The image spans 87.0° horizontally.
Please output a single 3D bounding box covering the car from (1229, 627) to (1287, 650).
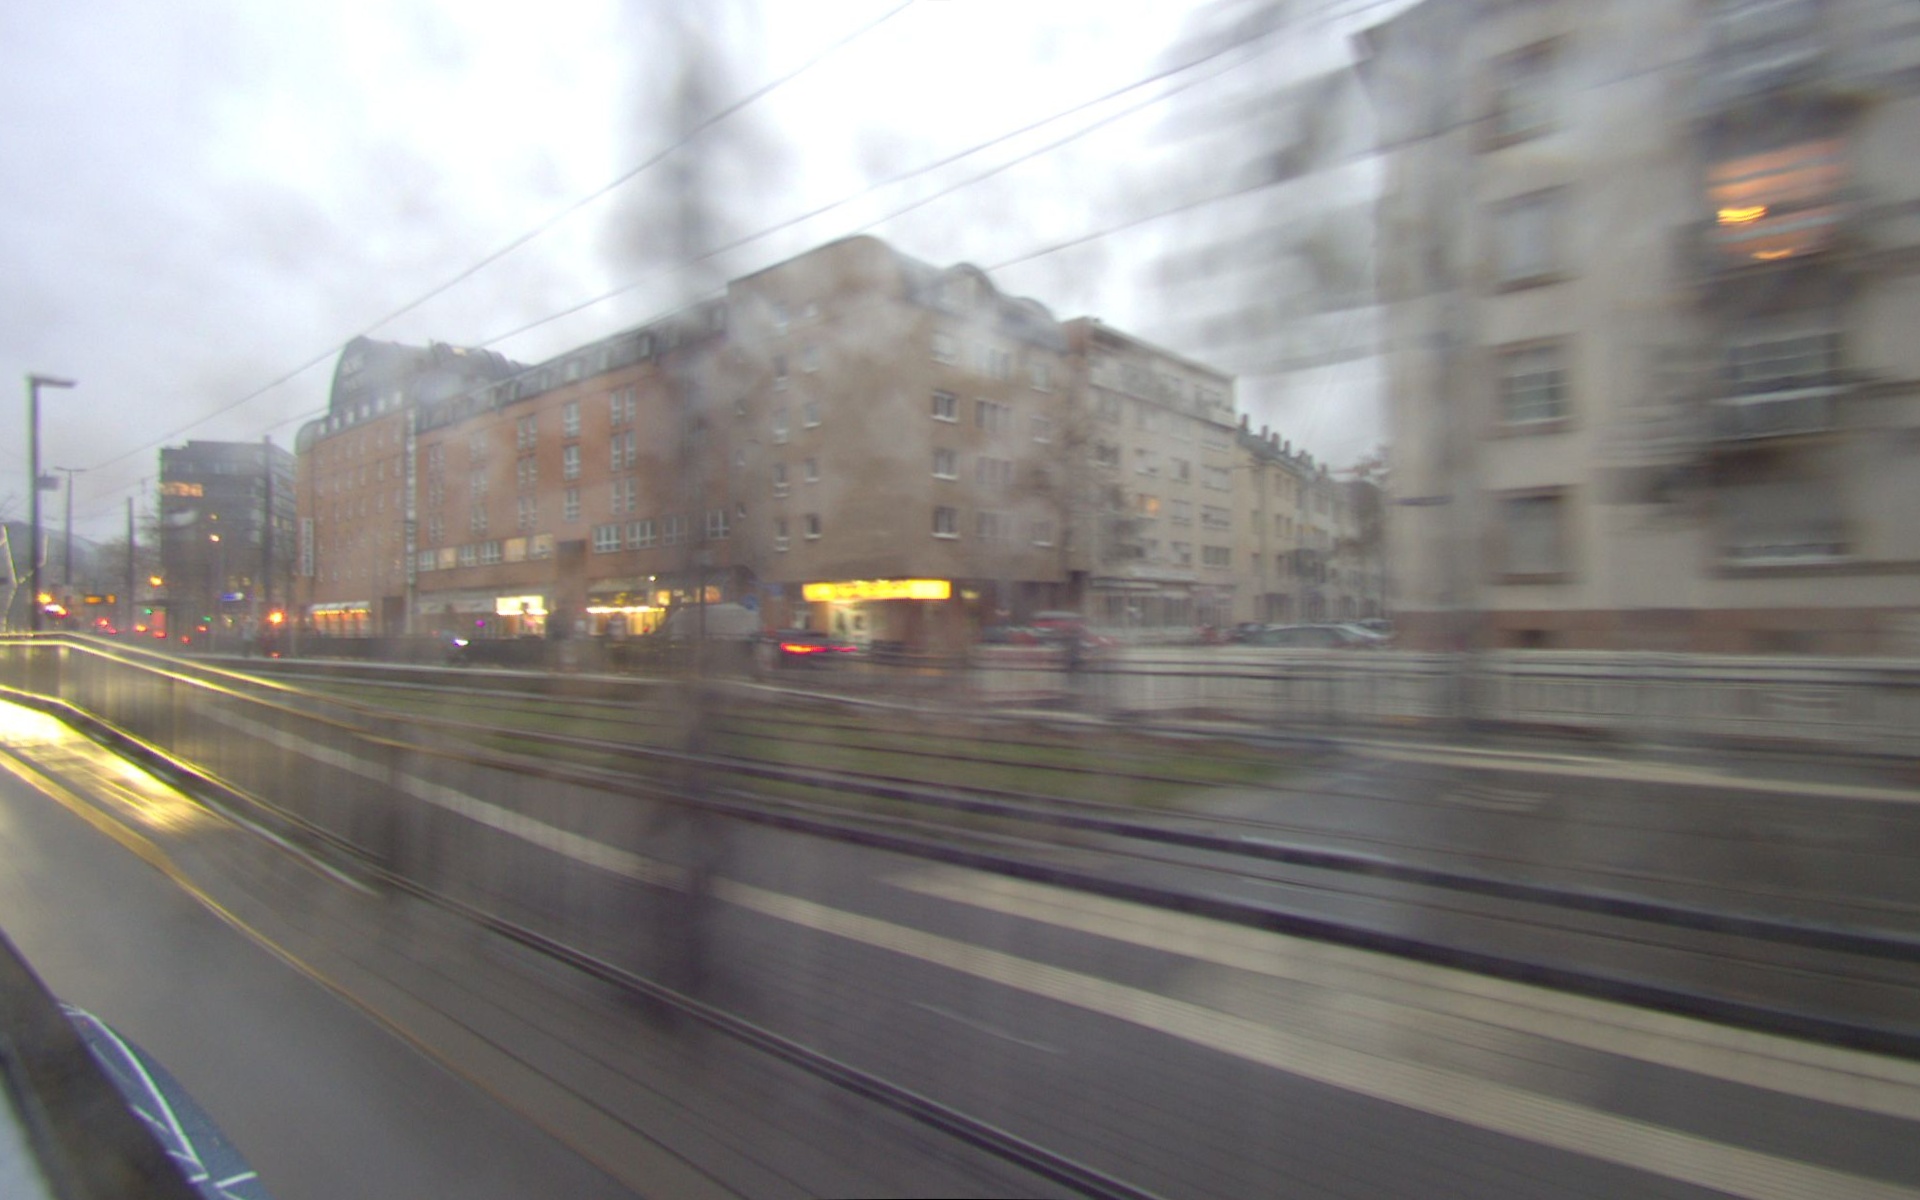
[{"bbox_3d":[19.302,2.496,65.500,3.310,1.436,1.441,-2,-2,36],"label":"car"}]

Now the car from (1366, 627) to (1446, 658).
[{"bbox_3d":[21.568,2.045,48.986,3.310,1.436,1.441,-2,-2,36],"label":"car"}]

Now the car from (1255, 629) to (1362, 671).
[{"bbox_3d":[12.424,1.762,36.135,3.310,1.436,1.441,-2,-2,36],"label":"car"}]

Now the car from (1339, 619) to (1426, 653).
[{"bbox_3d":[18.664,1.581,44.724,3.310,1.436,1.441,-2,-2,36],"label":"car"}]

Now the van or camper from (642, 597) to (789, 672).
[{"bbox_3d":[-9.852,1.312,40.311,2.740,2.702,6.761,-1,0,-42],"label":"van or camper"}]

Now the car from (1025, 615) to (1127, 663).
[{"bbox_3d":[5.087,1.718,44.611,4.127,2.050,1.730,-2,-2,30],"label":"car"}]

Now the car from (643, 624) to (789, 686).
[{"bbox_3d":[-5.972,1.290,24.583,3.543,1.364,1.665,-1,-1,40],"label":"car"}]

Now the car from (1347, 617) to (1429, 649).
[{"bbox_3d":[20.049,1.541,47.430,3.310,1.436,1.441,-2,-2,36],"label":"car"}]

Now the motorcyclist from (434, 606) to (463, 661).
[{"bbox_3d":[-14.429,0.936,28.561,0.555,1.507,0.494,-2,0,36],"label":"motorcyclist"}]

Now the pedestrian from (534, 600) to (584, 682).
[{"bbox_3d":[-9.084,0.910,22.947,0.811,1.793,0.798,-2,0,-1],"label":"pedestrian"}]

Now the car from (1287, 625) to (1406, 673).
[{"bbox_3d":[12.480,1.563,32.687,3.411,1.490,1.444,-1,-2,29],"label":"car"}]

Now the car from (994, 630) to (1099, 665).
[{"bbox_3d":[3.612,1.982,42.488,4.127,1.441,1.590,-2,-2,30],"label":"car"}]

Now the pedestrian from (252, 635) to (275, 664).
[{"bbox_3d":[-27.991,1.994,40.676,0.591,1.111,0.600,-2,0,41],"label":"pedestrian"}]

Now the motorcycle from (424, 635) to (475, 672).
[{"bbox_3d":[-14.381,1.497,28.493,1.803,1.016,0.508,-2,0,37],"label":"motorcycle"}]

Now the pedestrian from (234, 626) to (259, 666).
[{"bbox_3d":[-28.170,1.823,39.955,0.756,1.536,0.628,-2,0,41],"label":"pedestrian"}]

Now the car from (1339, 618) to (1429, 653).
[{"bbox_3d":[18.072,1.518,43.165,3.310,1.436,1.441,-2,-2,36],"label":"car"}]

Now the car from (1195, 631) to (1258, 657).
[{"bbox_3d":[15.684,2.584,59.583,3.310,1.436,1.441,-2,-2,36],"label":"car"}]

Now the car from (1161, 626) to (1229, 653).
[{"bbox_3d":[12.740,2.160,54.970,3.310,1.436,1.441,-2,-2,36],"label":"car"}]

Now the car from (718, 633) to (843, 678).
[{"bbox_3d":[-4.881,1.464,27.363,3.422,1.132,1.440,-2,-2,38],"label":"car"}]

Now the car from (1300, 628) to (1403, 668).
[{"bbox_3d":[14.538,1.777,37.625,3.310,1.436,1.441,-2,-2,36],"label":"car"}]

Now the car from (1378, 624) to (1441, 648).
[{"bbox_3d":[27.753,2.226,62.541,3.310,1.436,1.441,-2,-2,36],"label":"car"}]

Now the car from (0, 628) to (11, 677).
[{"bbox_3d":[-30.265,1.613,31.003,3.134,1.453,1.416,-2,0,41],"label":"car"}]

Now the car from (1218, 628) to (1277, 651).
[{"bbox_3d":[18.233,2.524,64.139,3.310,1.436,1.441,-2,-2,36],"label":"car"}]
